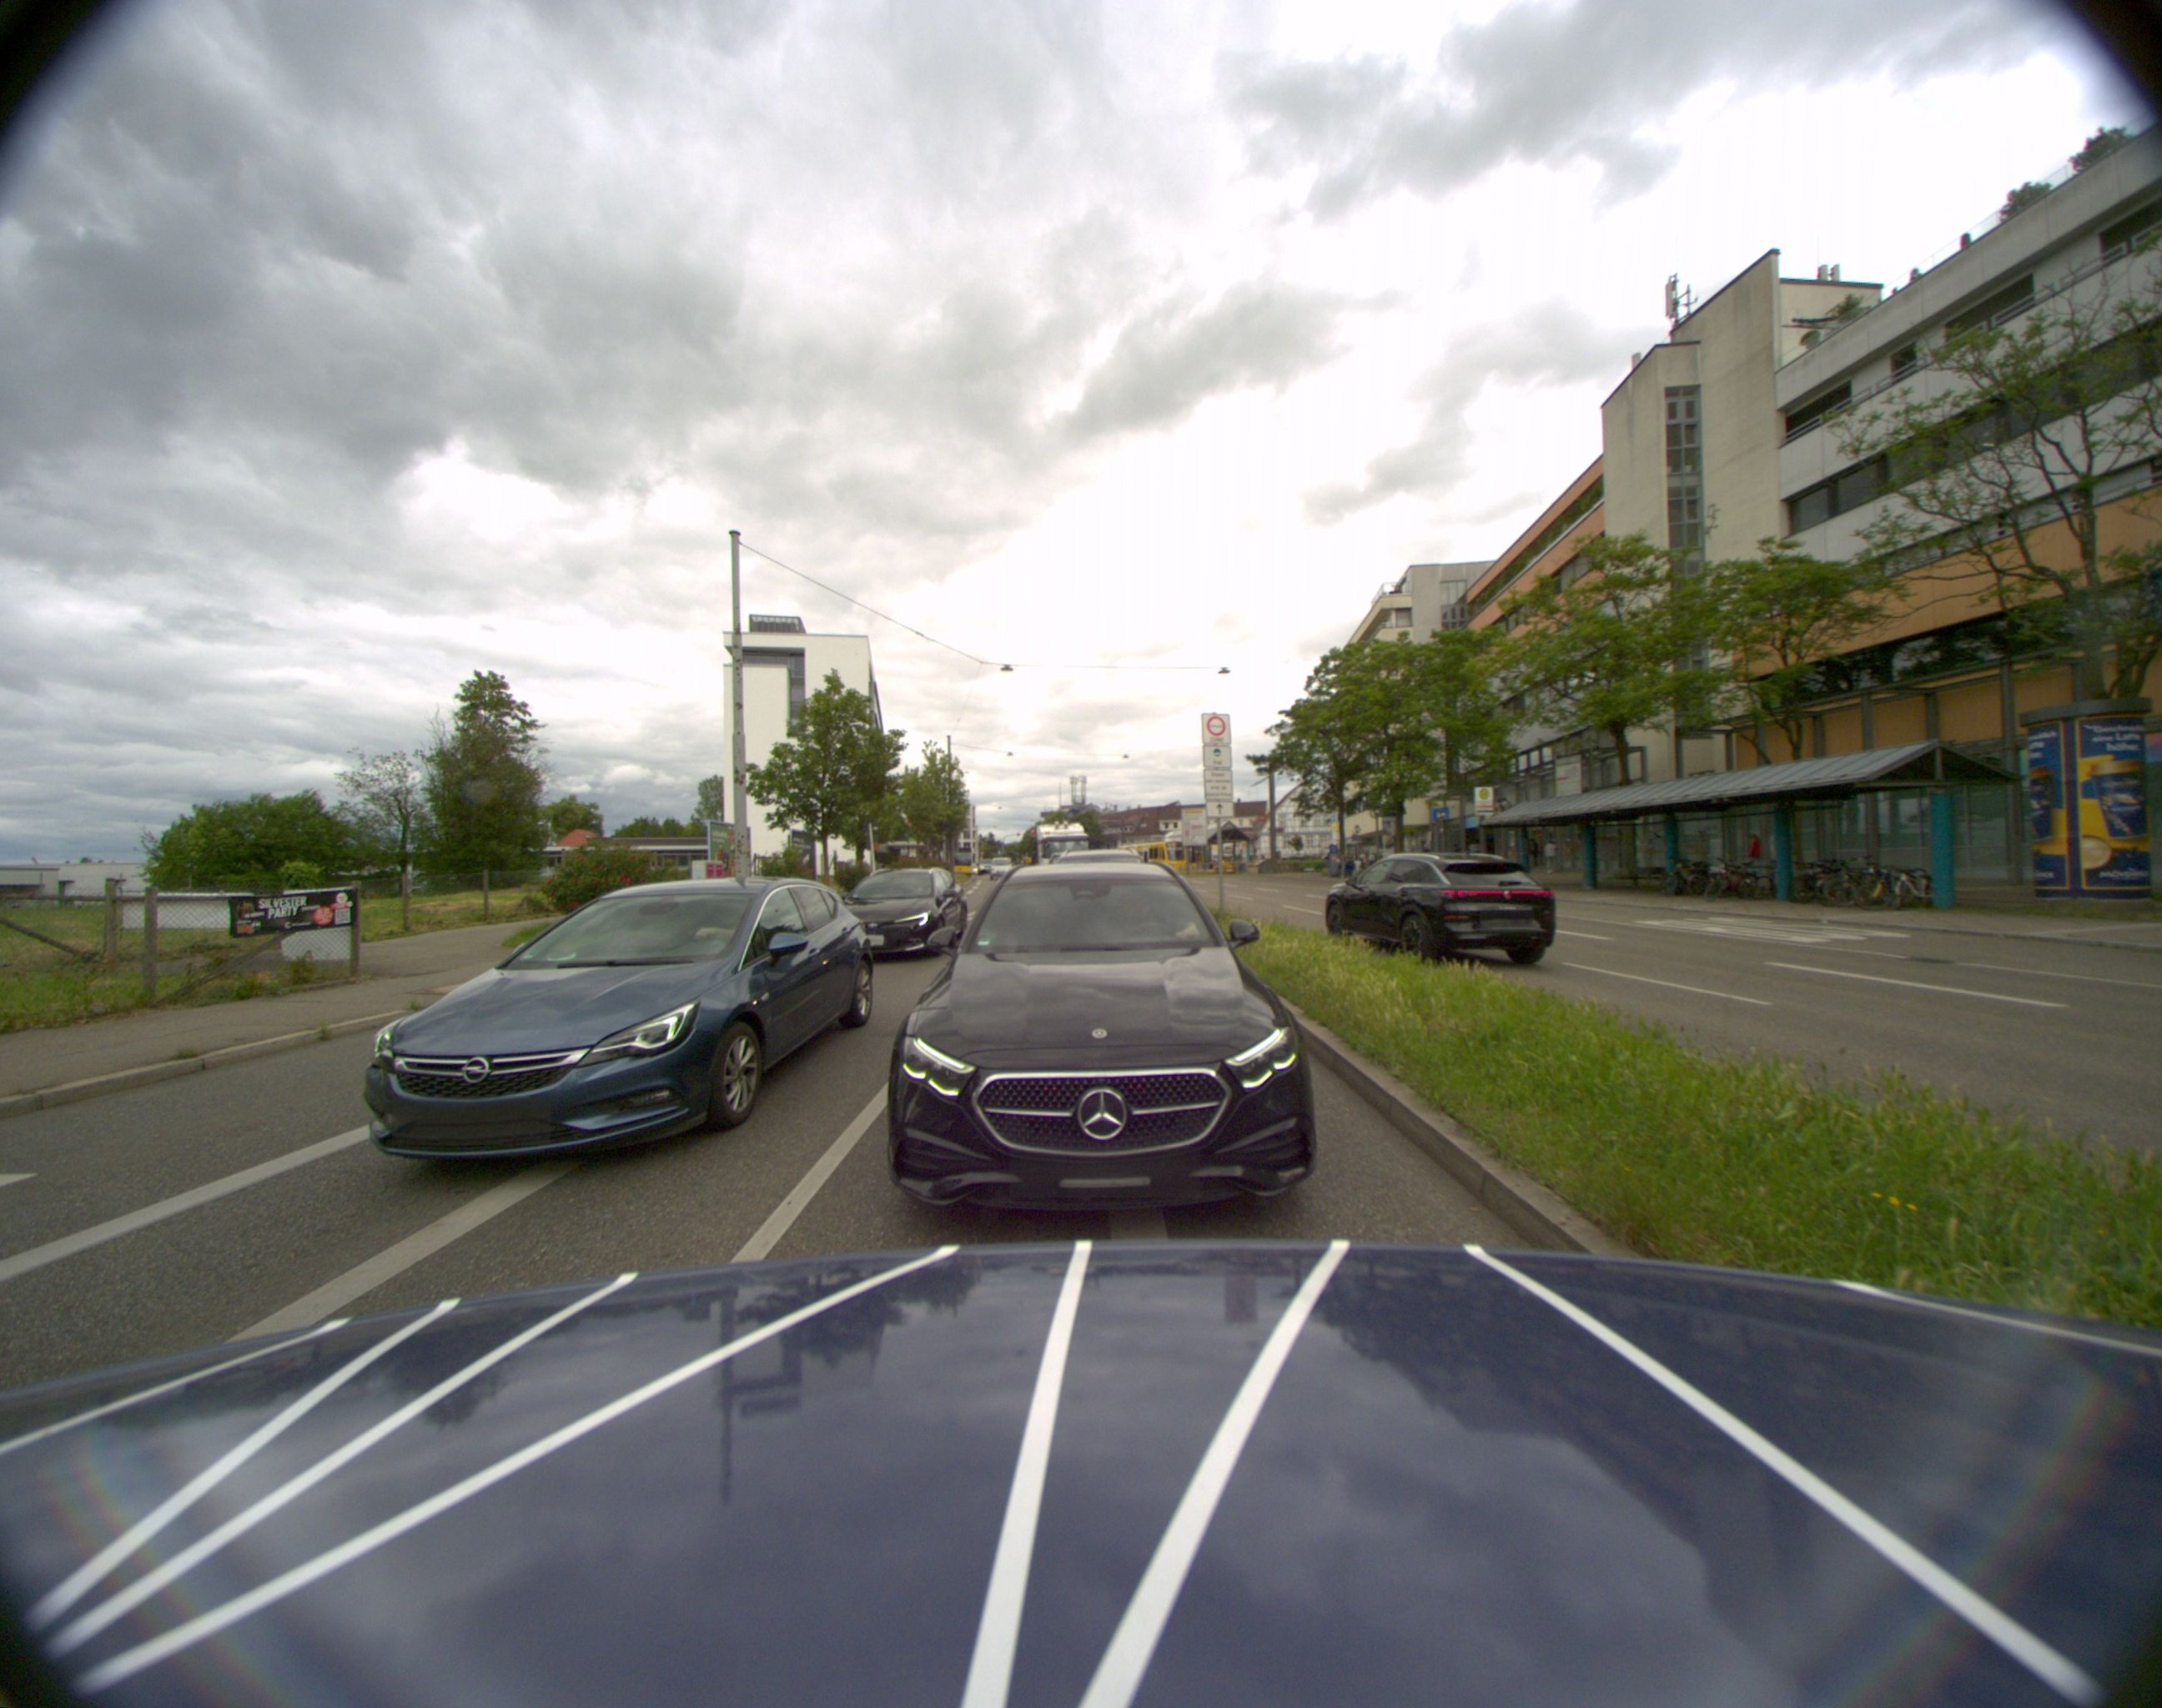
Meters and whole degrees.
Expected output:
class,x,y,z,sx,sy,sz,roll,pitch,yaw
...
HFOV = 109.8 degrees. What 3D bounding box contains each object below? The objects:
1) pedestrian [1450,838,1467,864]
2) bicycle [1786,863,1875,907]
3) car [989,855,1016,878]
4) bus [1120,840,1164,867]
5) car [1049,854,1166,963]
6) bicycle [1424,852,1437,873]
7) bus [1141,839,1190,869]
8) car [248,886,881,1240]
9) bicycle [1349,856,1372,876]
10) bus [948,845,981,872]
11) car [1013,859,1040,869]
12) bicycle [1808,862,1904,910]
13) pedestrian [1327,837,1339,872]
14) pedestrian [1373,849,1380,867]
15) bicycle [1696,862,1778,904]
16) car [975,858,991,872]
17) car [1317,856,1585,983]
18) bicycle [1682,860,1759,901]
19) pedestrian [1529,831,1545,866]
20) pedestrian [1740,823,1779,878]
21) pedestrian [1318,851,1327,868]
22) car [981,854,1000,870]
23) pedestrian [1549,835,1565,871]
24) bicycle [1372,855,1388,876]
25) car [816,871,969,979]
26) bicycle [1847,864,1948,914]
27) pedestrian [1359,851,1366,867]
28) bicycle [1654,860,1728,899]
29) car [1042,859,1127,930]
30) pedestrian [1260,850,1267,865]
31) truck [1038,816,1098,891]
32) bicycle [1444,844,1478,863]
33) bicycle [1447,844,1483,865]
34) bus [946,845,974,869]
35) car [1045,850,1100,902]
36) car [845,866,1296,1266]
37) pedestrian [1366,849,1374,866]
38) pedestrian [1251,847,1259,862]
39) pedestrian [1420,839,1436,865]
class,x,y,z,sx,sy,sz,roll,pitch,yaw
pedestrian,24.505,-0.172,49.325,0.765,1.673,0.752,-1,1,1
bicycle,19.025,0.776,19.303,1.735,1.035,0.549,-2,1,-2
car,-6.065,0.918,58.369,1.852,1.606,3.780,-3,0,-8
bus,6.934,-0.087,87.945,2.556,2.966,9.790,-1,0,-11
car,0.392,0.822,13.477,1.734,1.601,4.000,-2,0,0
bicycle,19.486,0.471,42.380,0.593,1.119,2.040,0,1,24
bus,8.699,0.009,79.009,2.556,2.966,8.498,-1,0,-11
car,-2.913,1.051,5.522,1.826,1.402,4.000,-2,0,0
bicycle,15.478,0.657,42.012,0.593,1.071,2.041,0,1,38
bus,-12.817,0.396,82.721,2.969,2.616,12.137,-2,1,-11
car,-9.183,1.620,127.838,4.008,1.592,1.994,-1,1,-42
bicycle,18.626,0.753,18.278,1.735,1.035,0.549,-3,1,-2
pedestrian,17.140,0.033,51.699,0.590,2.294,0.608,-1,1,-2
pedestrian,26.107,0.341,67.174,0.486,1.629,0.439,-2,1,18
bicycle,17.948,0.792,20.805,1.735,1.035,0.549,-3,1,-2
car,-13.986,1.559,108.325,2.000,1.811,3.996,-1,0,-10
car,5.303,0.825,11.606,1.840,1.512,4.069,0,1,-5
bicycle,18.283,0.745,21.737,1.735,1.035,0.549,-4,1,-2
pedestrian,25.735,-0.307,42.874,0.566,2.002,0.611,-1,1,6
pedestrian,25.366,-0.120,28.424,0.710,2.002,0.793,-2,1,-9
pedestrian,22.181,0.520,69.719,0.577,1.533,0.583,-1,1,-8
car,-11.073,0.962,92.663,1.853,1.875,4.132,-3,0,-12
pedestrian,24.099,-0.045,38.483,0.648,1.799,0.761,0,1,34
bicycle,16.401,0.625,41.641,0.593,1.071,2.041,0,1,29
car,-3.096,1.101,13.284,1.665,1.448,3.921,-2,0,0
bicycle,18.685,0.786,17.393,1.735,1.035,0.549,-2,1,-2
pedestrian,25.138,0.447,67.858,0.555,1.485,0.454,-1,1,8
bicycle,18.205,0.750,22.698,1.735,1.035,0.549,-3,1,-2
car,0.045,0.913,18.903,1.865,1.520,3.999,-1,0,-1
pedestrian,19.214,0.370,80.078,0.577,1.533,0.583,-1,1,-8
truck,-0.767,-0.040,36.719,2.490,3.258,7.428,-1,0,-4
bicycle,27.756,-0.024,55.547,2.138,1.358,0.620,-2,1,26
bicycle,26.994,0.034,53.395,2.139,1.367,0.620,-2,1,18
bus,-15.223,0.352,95.045,2.969,2.616,12.911,-2,1,-11
car,-0.367,0.746,28.339,1.865,1.773,3.999,-1,0,-2
car,-0.053,0.886,5.185,1.793,1.507,4.249,-1,0,0
pedestrian,25.784,0.307,67.708,0.555,1.485,0.454,-1,1,8
pedestrian,22.719,0.044,99.159,0.879,2.002,1.010,-1,1,6
pedestrian,24.495,-0.159,53.677,0.765,1.835,0.752,-1,1,1
